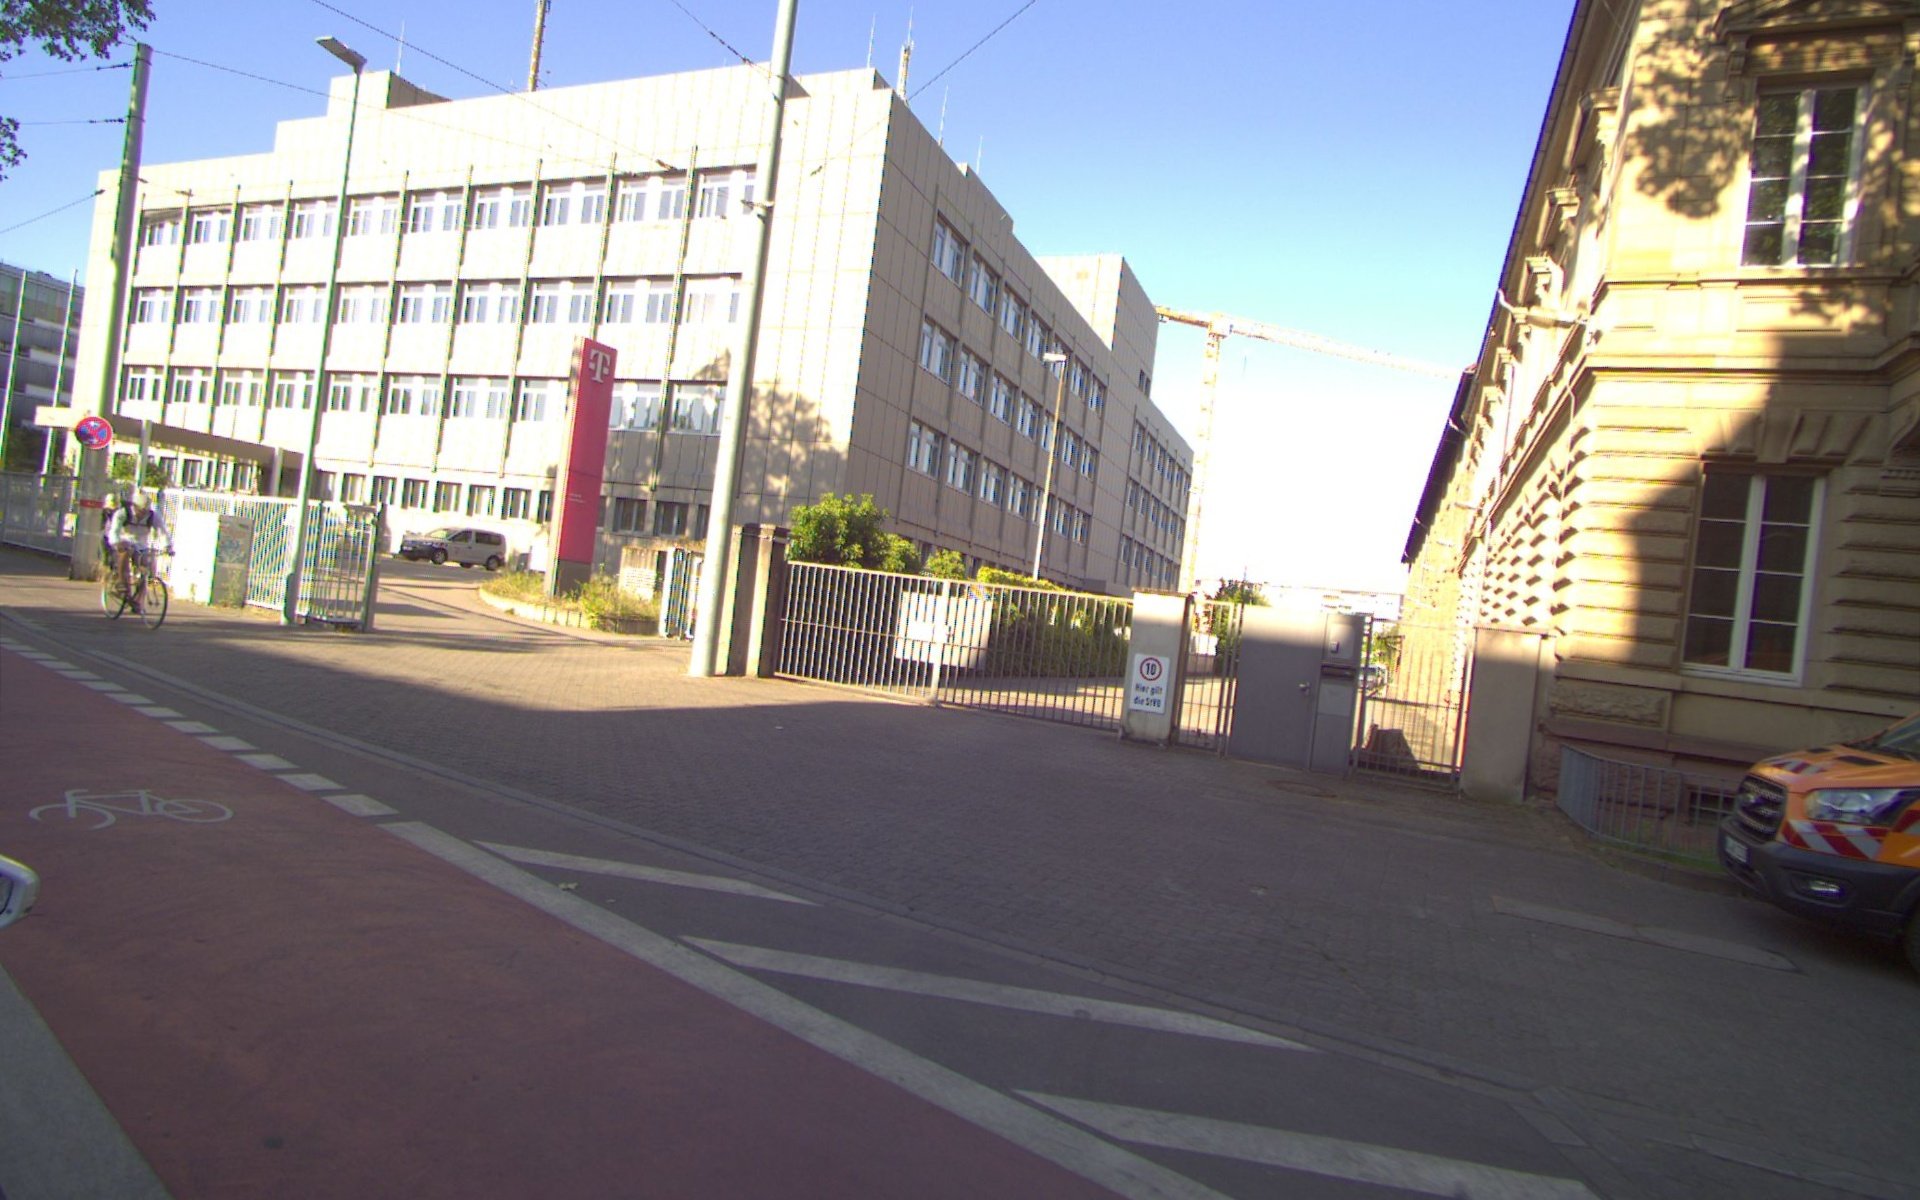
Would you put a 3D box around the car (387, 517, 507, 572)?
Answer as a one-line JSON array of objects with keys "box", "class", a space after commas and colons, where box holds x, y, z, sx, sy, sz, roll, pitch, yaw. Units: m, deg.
[{"box": [-22.129, -2.360, 43.586, 1.957, 1.738, 4.265, 7, -1, 23], "class": "car"}]

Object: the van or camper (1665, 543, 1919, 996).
[{"box": [7.942, 1.314, 5.940, 5.670, 2.590, 2.041, 7, 0, 25], "class": "van or camper"}]

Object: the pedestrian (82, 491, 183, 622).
[{"box": [-11.188, -0.589, 13.602, 1.084, 1.640, 0.669, 7, 2, 32], "class": "pedestrian"}]

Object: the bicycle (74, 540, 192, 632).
[{"box": [-11.210, -0.197, 13.614, 1.870, 1.046, 0.674, 7, 2, 33], "class": "bicycle"}]

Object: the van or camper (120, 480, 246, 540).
[{"box": [-33.253, -3.849, 43.034, 4.908, 1.932, 1.986, 7, 0, 23], "class": "van or camper"}]

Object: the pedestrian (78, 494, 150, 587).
[{"box": [-16.768, -1.173, 19.930, 0.915, 1.704, 0.697, 7, 0, 31], "class": "pedestrian"}]
